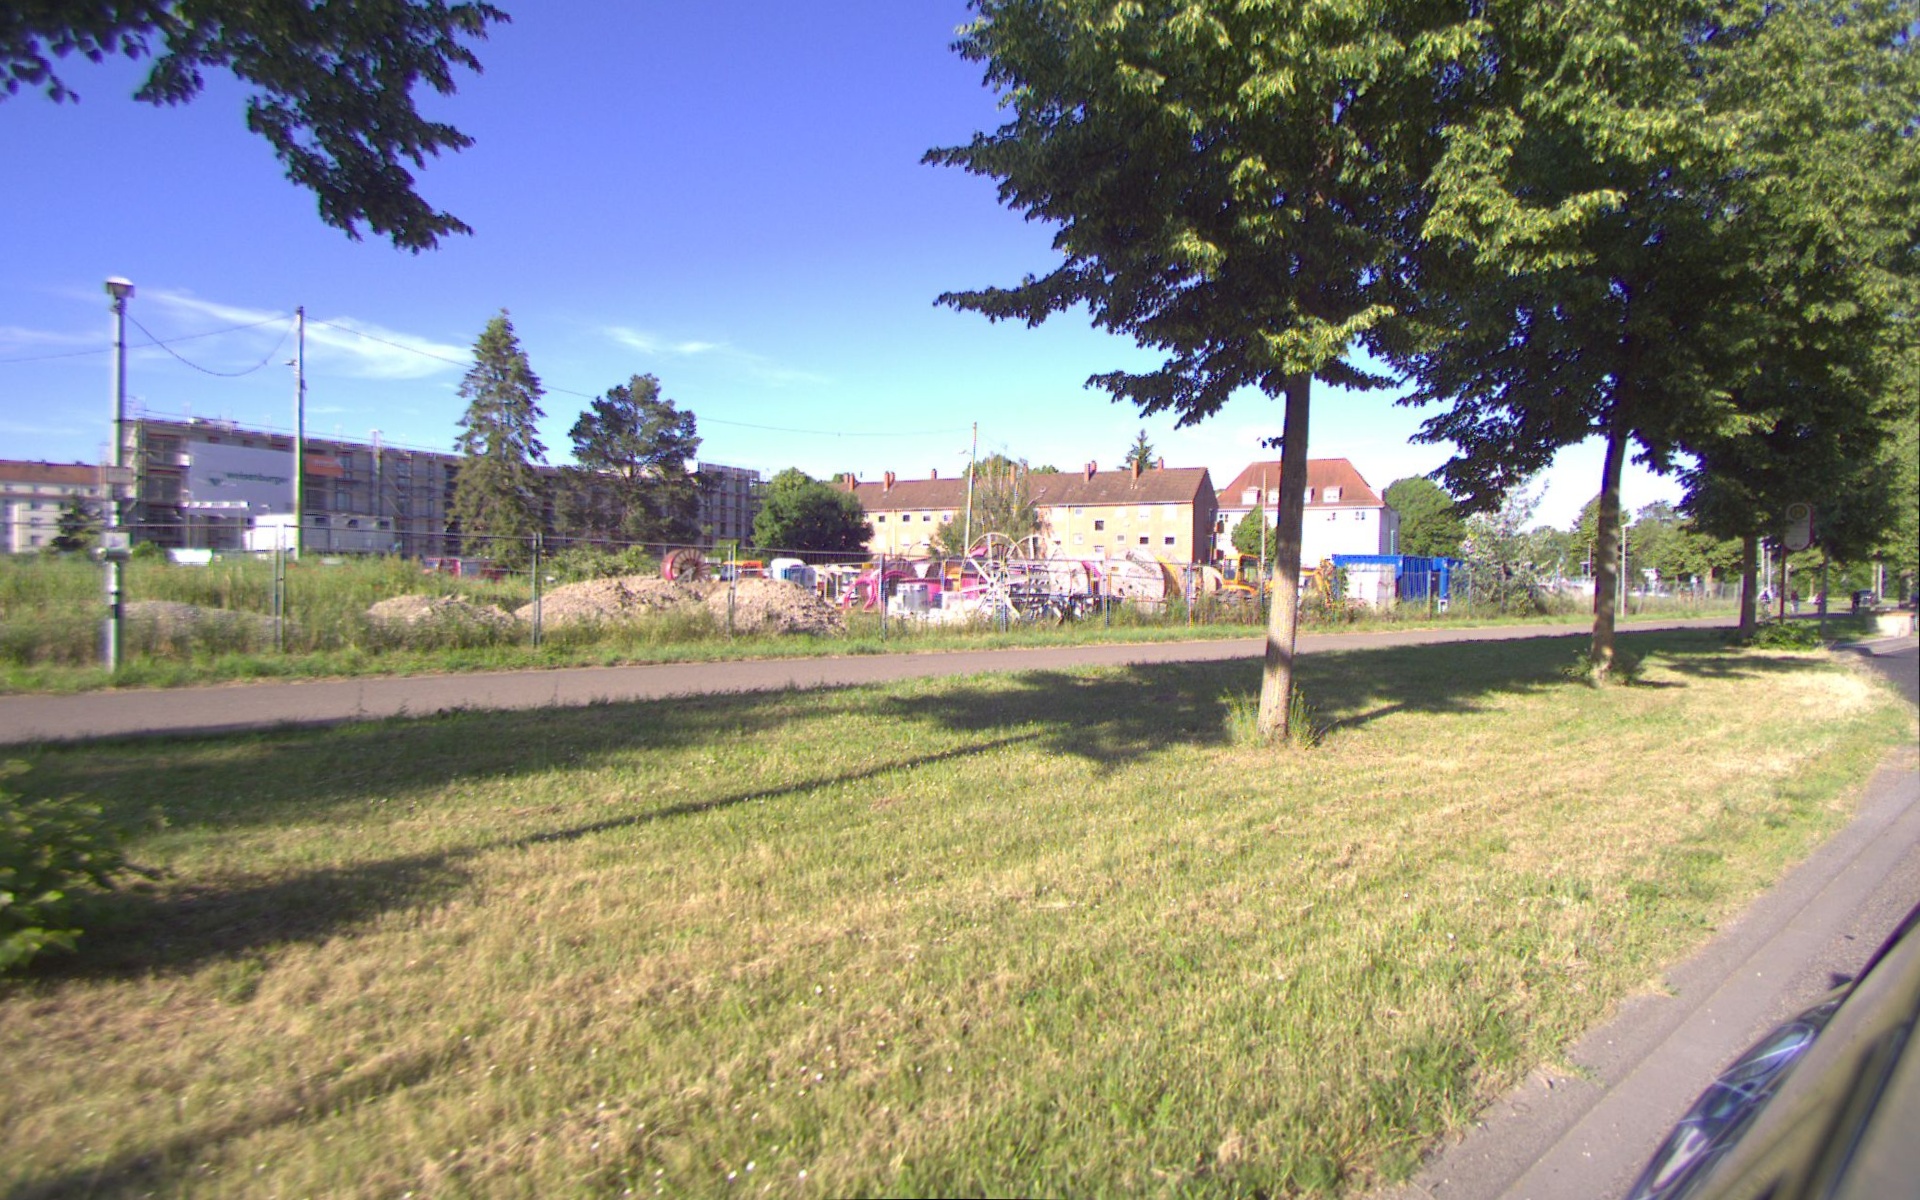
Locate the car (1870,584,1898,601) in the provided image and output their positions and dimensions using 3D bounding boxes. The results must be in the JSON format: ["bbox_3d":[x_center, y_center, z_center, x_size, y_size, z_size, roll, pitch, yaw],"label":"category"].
[{"bbox_3d":[91.561,-0.757,100.289,3.191,1.660,1.682,0,2,-41],"label":"car"}]

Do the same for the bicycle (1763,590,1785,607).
[{"bbox_3d":[48.605,-0.097,60.427,1.788,1.025,0.657,0,1,-40],"label":"bicycle"}]

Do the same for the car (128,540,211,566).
[{"bbox_3d":[-52.492,-3.105,67.263,1.819,1.638,3.954,0,2,33],"label":"car"}]

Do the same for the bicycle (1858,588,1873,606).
[{"bbox_3d":[59.400,-0.206,66.375,1.615,1.095,0.479,-2,2,-39],"label":"bicycle"}]

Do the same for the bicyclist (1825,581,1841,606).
[{"bbox_3d":[58.186,-0.430,67.452,0.948,1.606,0.593,-2,2,-38],"label":"bicyclist"}]

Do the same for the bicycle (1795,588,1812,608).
[{"bbox_3d":[49.343,-0.122,59.185,1.577,1.166,0.507,0,2,-41],"label":"bicycle"}]

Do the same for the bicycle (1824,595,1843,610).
[{"bbox_3d":[58.249,0.165,67.509,1.866,0.972,0.593,-2,2,-38],"label":"bicycle"}]

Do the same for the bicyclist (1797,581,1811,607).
[{"bbox_3d":[49.328,-0.360,59.161,0.819,1.491,0.504,-1,1,-40],"label":"bicyclist"}]

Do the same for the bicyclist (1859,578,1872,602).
[{"bbox_3d":[59.371,-0.665,66.345,0.899,1.504,0.471,-2,2,-39],"label":"bicyclist"}]

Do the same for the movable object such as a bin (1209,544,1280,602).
[{"bbox_3d":[10.326,-0.999,36.769,1.757,2.038,1.799,-2,2,-39],"label":"movable object such as a bin"}]

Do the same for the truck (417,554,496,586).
[{"bbox_3d":[-33.680,-2.004,67.801,1.990,2.039,4.371,2,1,39],"label":"truck"}]

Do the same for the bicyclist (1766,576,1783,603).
[{"bbox_3d":[48.639,-0.637,60.424,0.780,1.572,0.654,-1,1,-40],"label":"bicyclist"}]
